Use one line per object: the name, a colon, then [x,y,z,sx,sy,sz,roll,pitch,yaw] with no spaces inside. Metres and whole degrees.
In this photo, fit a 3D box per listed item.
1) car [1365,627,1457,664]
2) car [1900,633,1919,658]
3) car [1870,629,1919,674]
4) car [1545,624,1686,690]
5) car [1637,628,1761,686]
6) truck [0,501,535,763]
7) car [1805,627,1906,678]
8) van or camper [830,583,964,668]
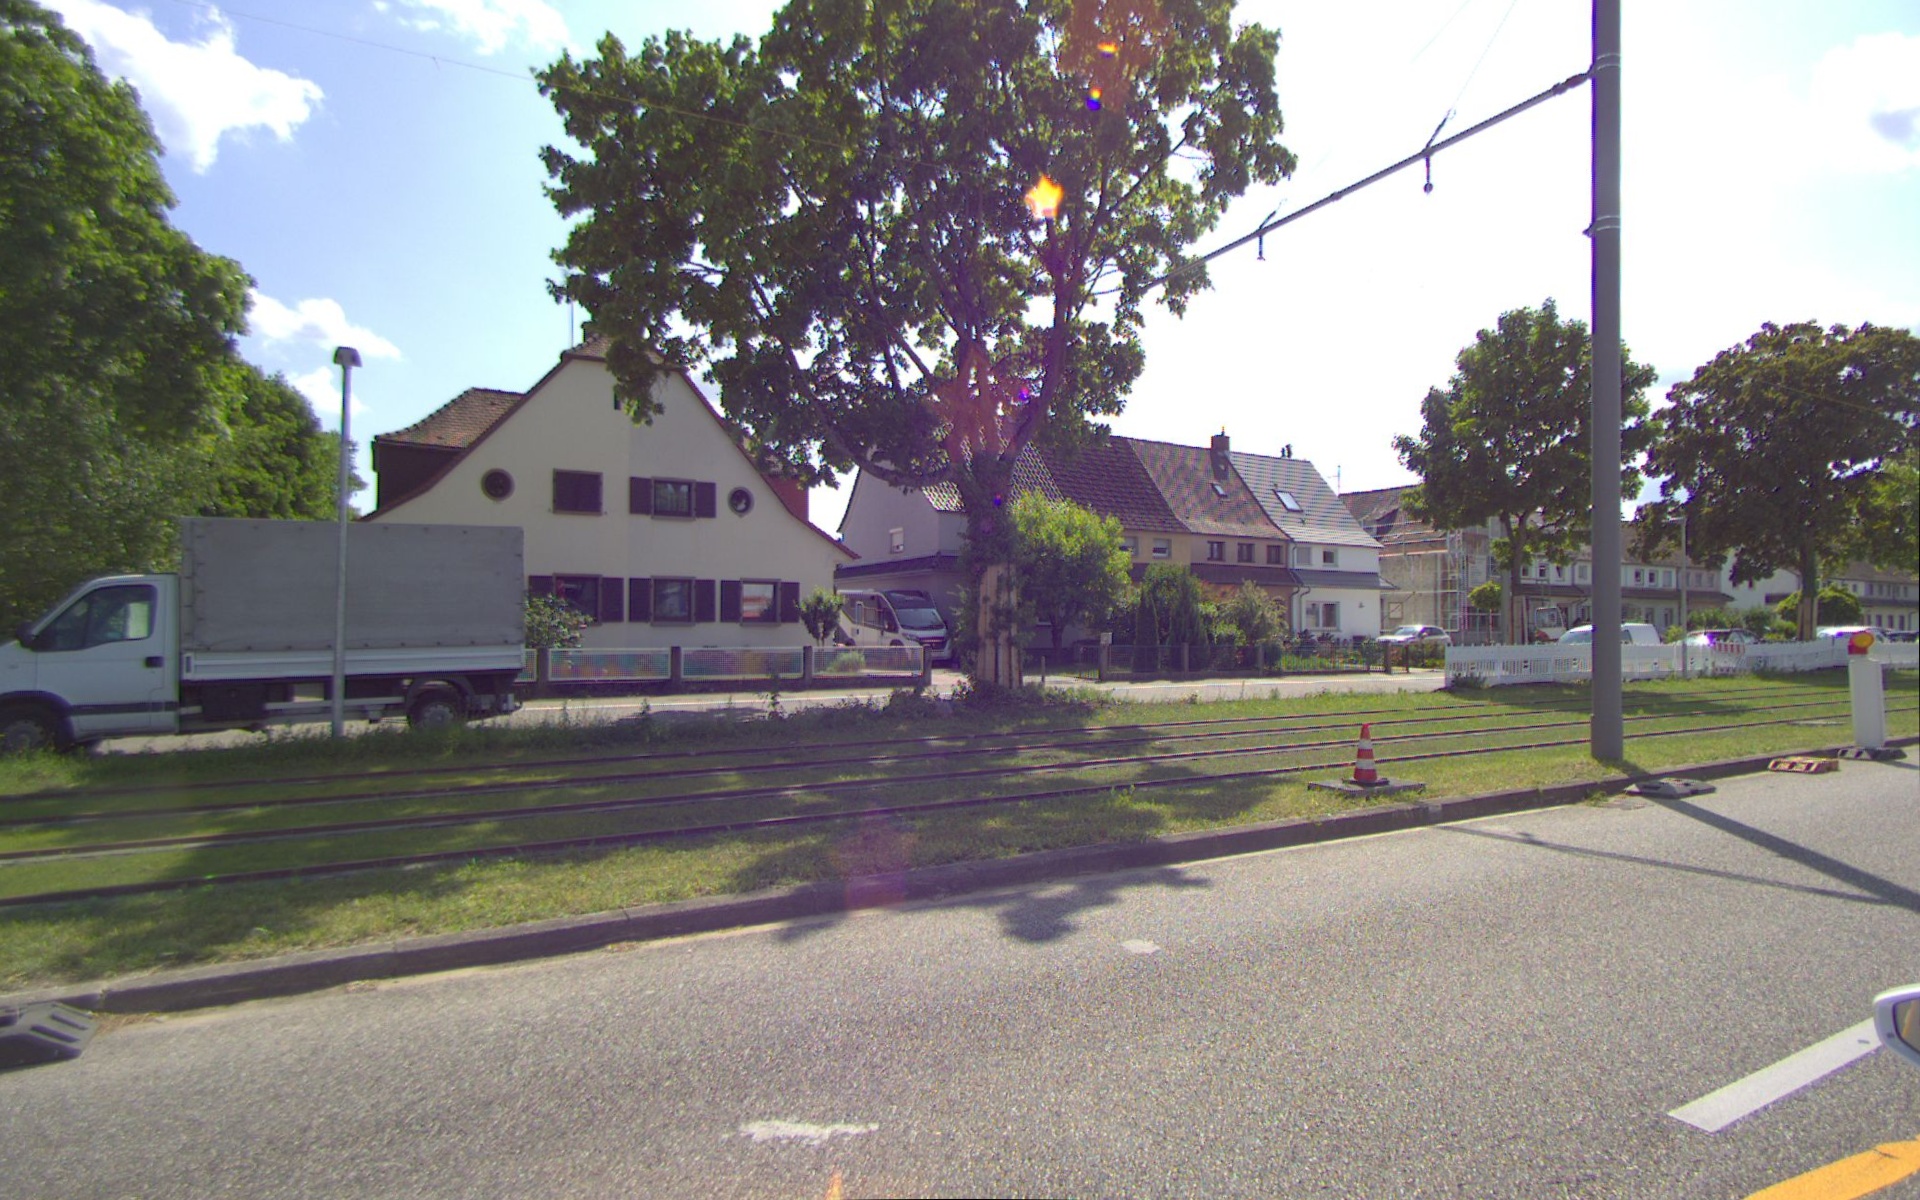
car: [20.002,1.992,44.497,3.952,1.539,1.768,1,-2,-30]
car: [70.044,3.303,72.745,4.079,1.745,1.768,1,-2,-30]
car: [40.658,2.166,42.697,4.079,1.829,1.768,1,-2,-30]
car: [19.594,1.645,30.004,4.312,1.845,1.768,1,-2,-30]
car: [24.302,1.825,33.002,4.177,1.797,1.768,1,-2,-30]
truck: [-8.824,0.407,12.974,5.906,2.817,2.255,1,-2,-31]
car: [35.333,2.031,39.617,4.079,1.892,1.768,1,-2,-30]
van or camper: [-2.422,0.940,36.616,2.269,2.801,6.051,1,-2,-32]
